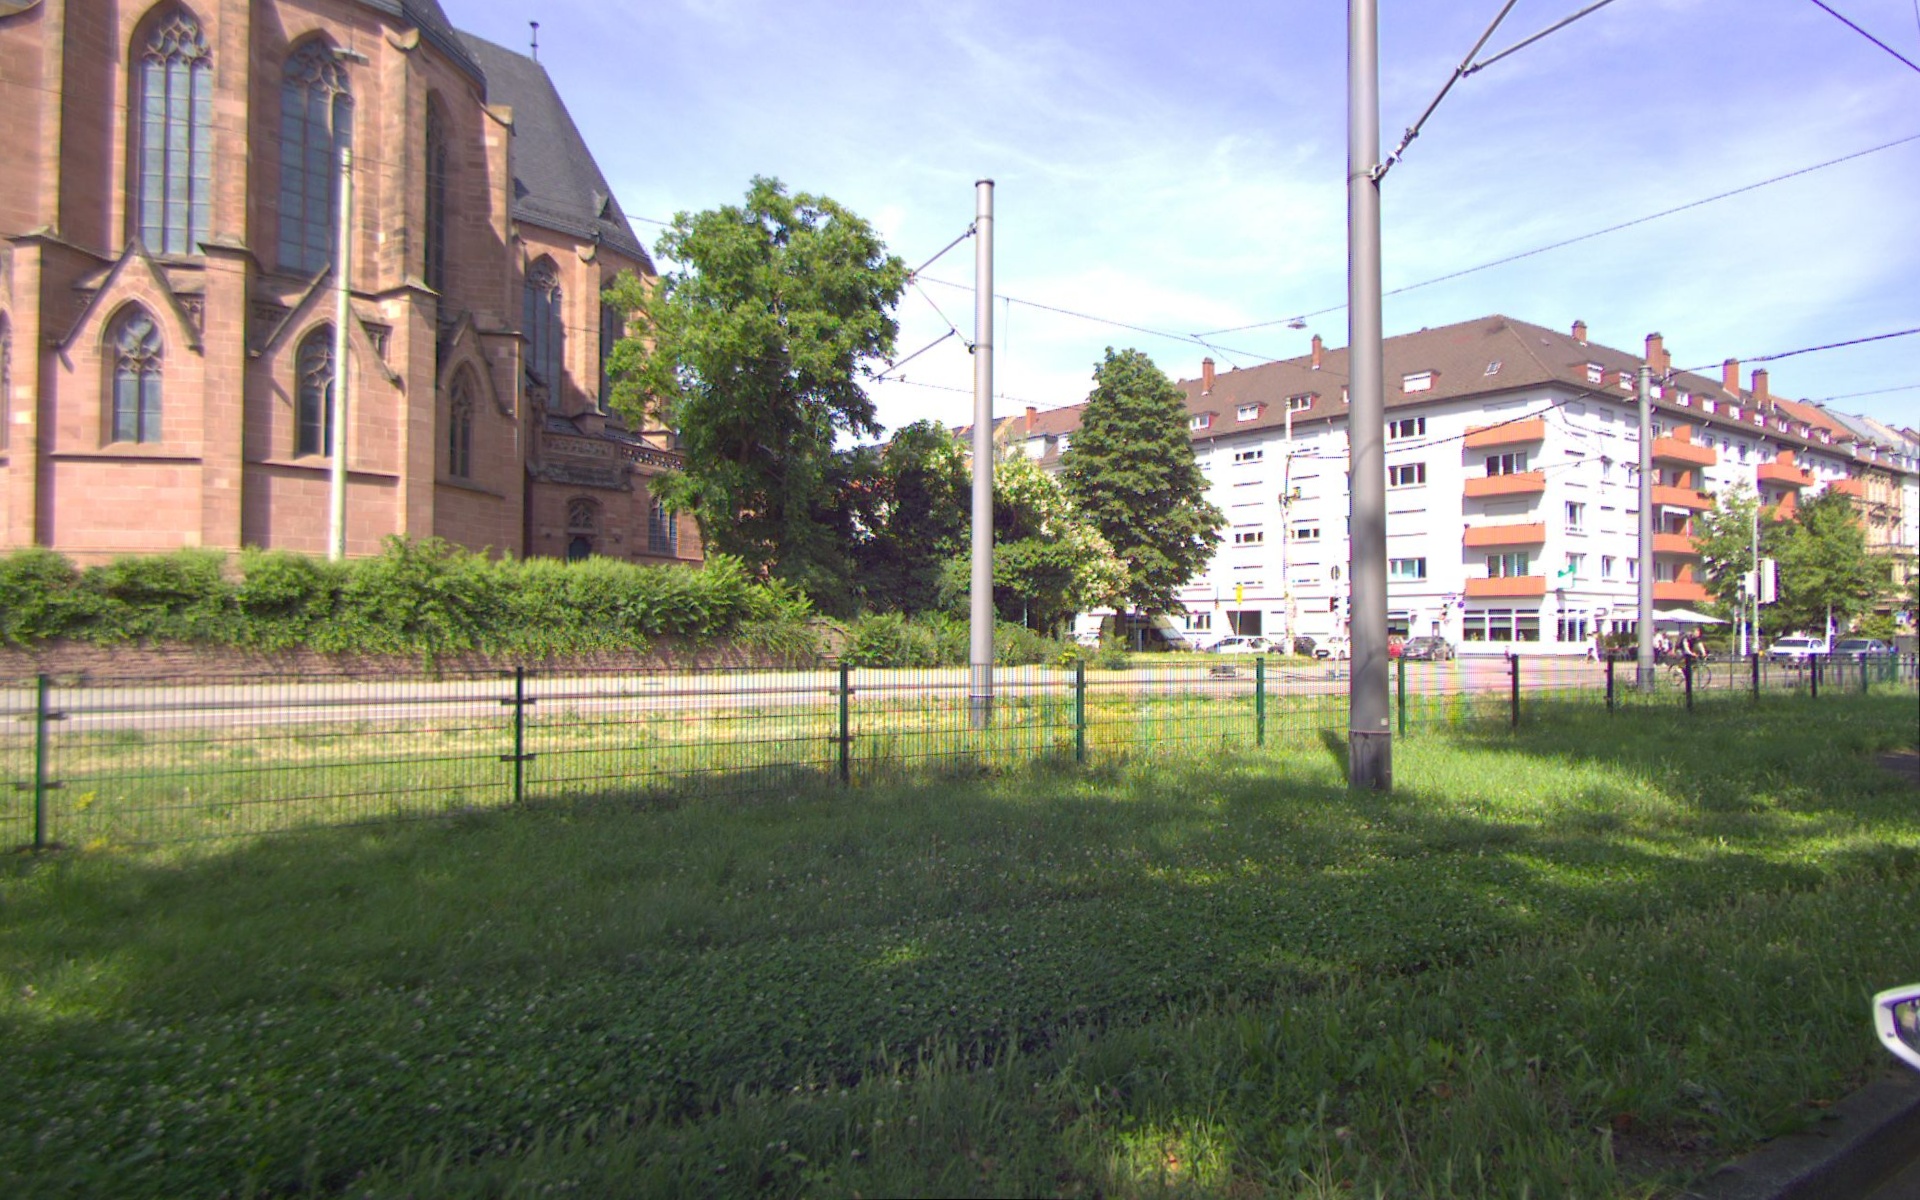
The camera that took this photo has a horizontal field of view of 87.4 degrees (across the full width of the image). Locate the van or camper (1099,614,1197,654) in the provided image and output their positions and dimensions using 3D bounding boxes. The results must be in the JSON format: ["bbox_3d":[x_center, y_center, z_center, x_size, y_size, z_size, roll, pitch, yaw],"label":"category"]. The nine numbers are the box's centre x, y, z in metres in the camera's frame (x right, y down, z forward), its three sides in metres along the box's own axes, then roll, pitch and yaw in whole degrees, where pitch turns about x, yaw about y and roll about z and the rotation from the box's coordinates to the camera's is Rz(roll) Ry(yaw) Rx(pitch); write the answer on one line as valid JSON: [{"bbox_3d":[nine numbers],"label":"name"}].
[{"bbox_3d":[11.519,2.067,61.843,2.230,2.360,5.702,2,-2,-43],"label":"van or camper"}]

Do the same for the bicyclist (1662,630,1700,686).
[{"bbox_3d":[21.585,1.734,30.079,0.683,1.644,0.622,1,-2,-17],"label":"bicyclist"}]

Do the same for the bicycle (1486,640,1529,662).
[{"bbox_3d":[29.523,2.742,54.172,2.780,1.152,0.905,2,-2,-35],"label":"bicycle"}]

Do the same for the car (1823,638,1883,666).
[{"bbox_3d":[49.889,2.892,56.077,3.963,1.517,1.758,2,-4,-37],"label":"car"}]

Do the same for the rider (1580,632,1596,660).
[{"bbox_3d":[33.150,2.432,53.025,0.616,1.442,0.587,-1,-2,42],"label":"rider"}]

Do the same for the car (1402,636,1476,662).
[{"bbox_3d":[26.718,2.712,55.970,4.601,1.394,1.820,2,-2,-37],"label":"car"}]

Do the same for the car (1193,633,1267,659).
[{"bbox_3d":[15.451,2.613,57.538,3.700,1.425,1.824,-2,-2,43],"label":"car"}]

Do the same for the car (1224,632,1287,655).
[{"bbox_3d":[18.995,2.788,64.573,4.131,1.425,1.917,2,-2,-39],"label":"car"}]

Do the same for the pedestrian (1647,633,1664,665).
[{"bbox_3d":[35.344,2.497,51.037,0.678,1.593,0.544,-1,-2,35],"label":"pedestrian"}]

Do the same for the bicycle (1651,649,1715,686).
[{"bbox_3d":[21.657,2.011,30.082,1.895,1.062,0.531,1,-2,-18],"label":"bicycle"}]

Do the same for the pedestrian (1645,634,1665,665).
[{"bbox_3d":[35.675,2.521,51.564,0.846,1.593,0.688,-1,-2,35],"label":"pedestrian"}]

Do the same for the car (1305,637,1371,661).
[{"bbox_3d":[22.894,2.931,60.786,4.131,1.425,1.917,2,-2,-39],"label":"car"}]

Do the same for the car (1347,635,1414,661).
[{"bbox_3d":[24.491,2.783,58.510,4.131,1.425,1.917,2,-2,-39],"label":"car"}]

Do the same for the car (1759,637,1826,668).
[{"bbox_3d":[42.724,2.698,51.533,3.963,1.517,1.758,2,-4,-37],"label":"car"}]

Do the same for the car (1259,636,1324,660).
[{"bbox_3d":[20.569,2.944,62.295,4.131,1.425,1.917,2,-2,-39],"label":"car"}]

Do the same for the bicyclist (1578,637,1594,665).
[{"bbox_3d":[32.751,2.658,52.546,0.616,1.442,0.587,-1,-2,42],"label":"bicyclist"}]
